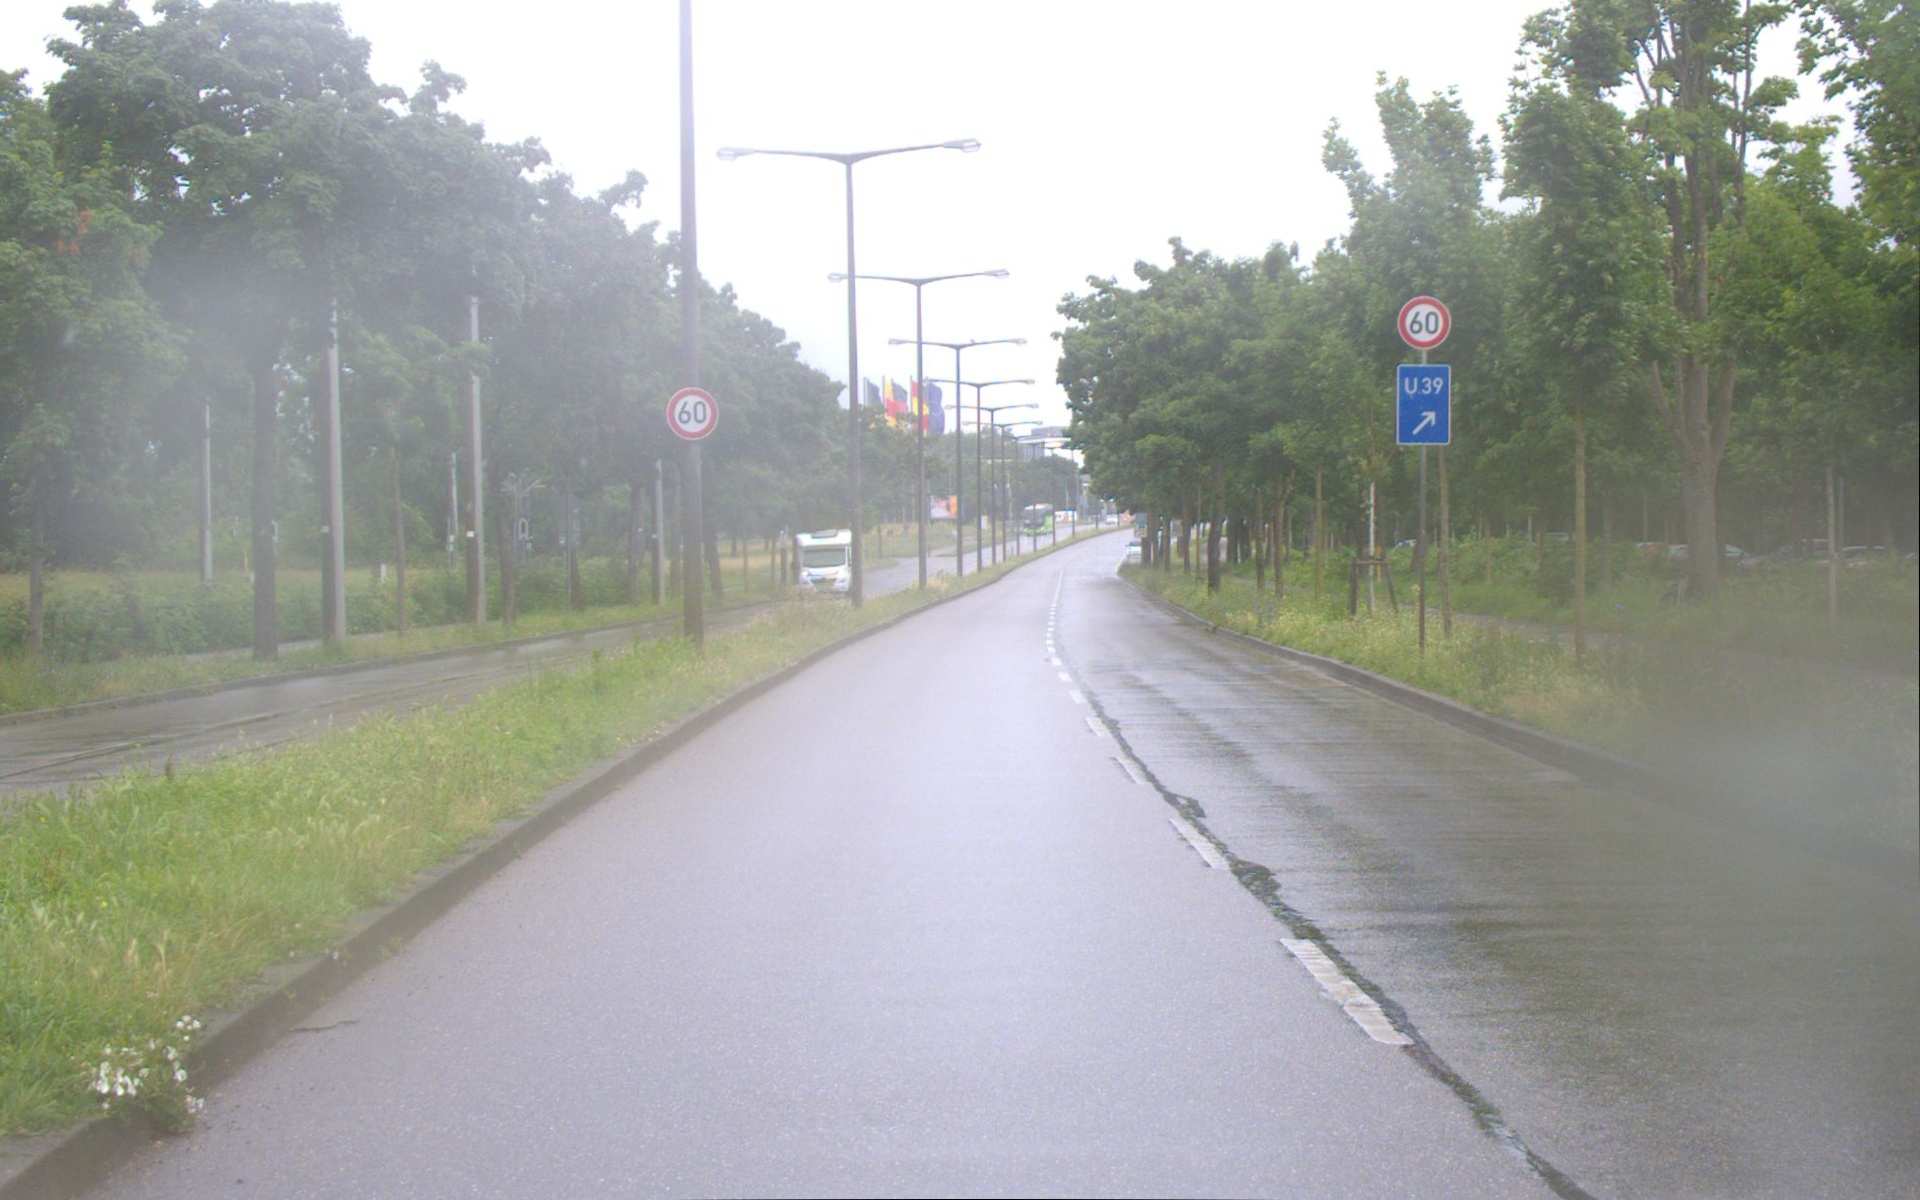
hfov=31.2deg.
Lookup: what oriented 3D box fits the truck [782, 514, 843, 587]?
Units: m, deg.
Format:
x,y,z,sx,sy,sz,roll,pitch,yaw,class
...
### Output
x,y,z,sx,sy,sz,roll,pitch,yaw,class
-5.928,-1.975,139.109,2.138,2.834,5.073,-2,0,0,truck
